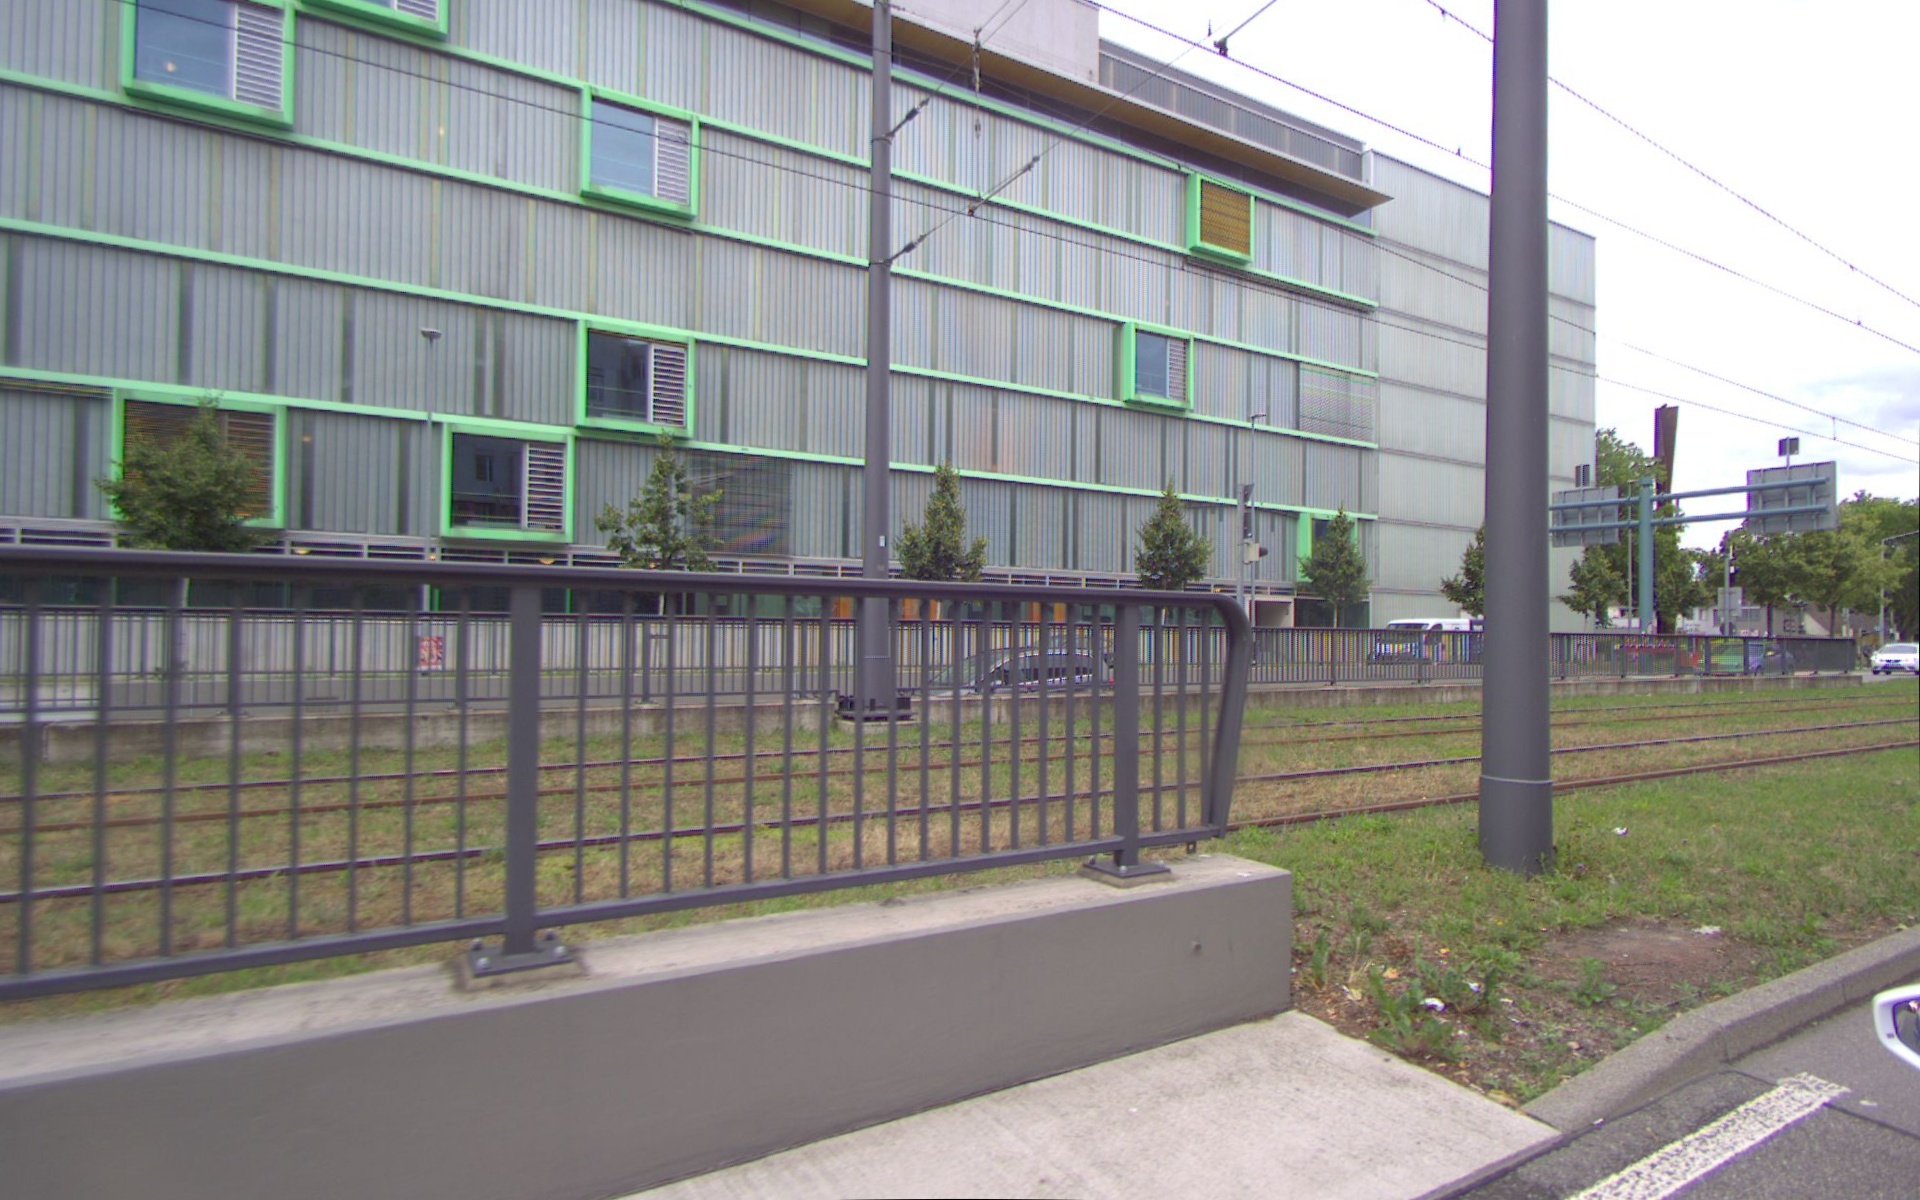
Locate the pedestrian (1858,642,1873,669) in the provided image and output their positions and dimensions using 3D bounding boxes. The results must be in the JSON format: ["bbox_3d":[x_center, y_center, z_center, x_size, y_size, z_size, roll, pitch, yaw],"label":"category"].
[{"bbox_3d":[64.139,3.947,71.140,0.769,1.856,0.771,0,-2,43],"label":"pedestrian"}]

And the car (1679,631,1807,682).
[{"bbox_3d":[26.287,1.850,33.670,4.914,1.535,1.773,1,-1,-31],"label":"car"}]

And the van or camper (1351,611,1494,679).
[{"bbox_3d":[16.881,1.600,36.596,5.296,2.317,2.162,1,-2,-31],"label":"van or camper"}]

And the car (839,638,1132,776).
[{"bbox_3d":[0.525,1.776,17.968,4.914,1.787,1.983,-3,2,-32],"label":"car"}]

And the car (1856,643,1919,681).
[{"bbox_3d":[43.777,2.846,46.838,4.334,1.607,1.981,1,-1,-34],"label":"car"}]
